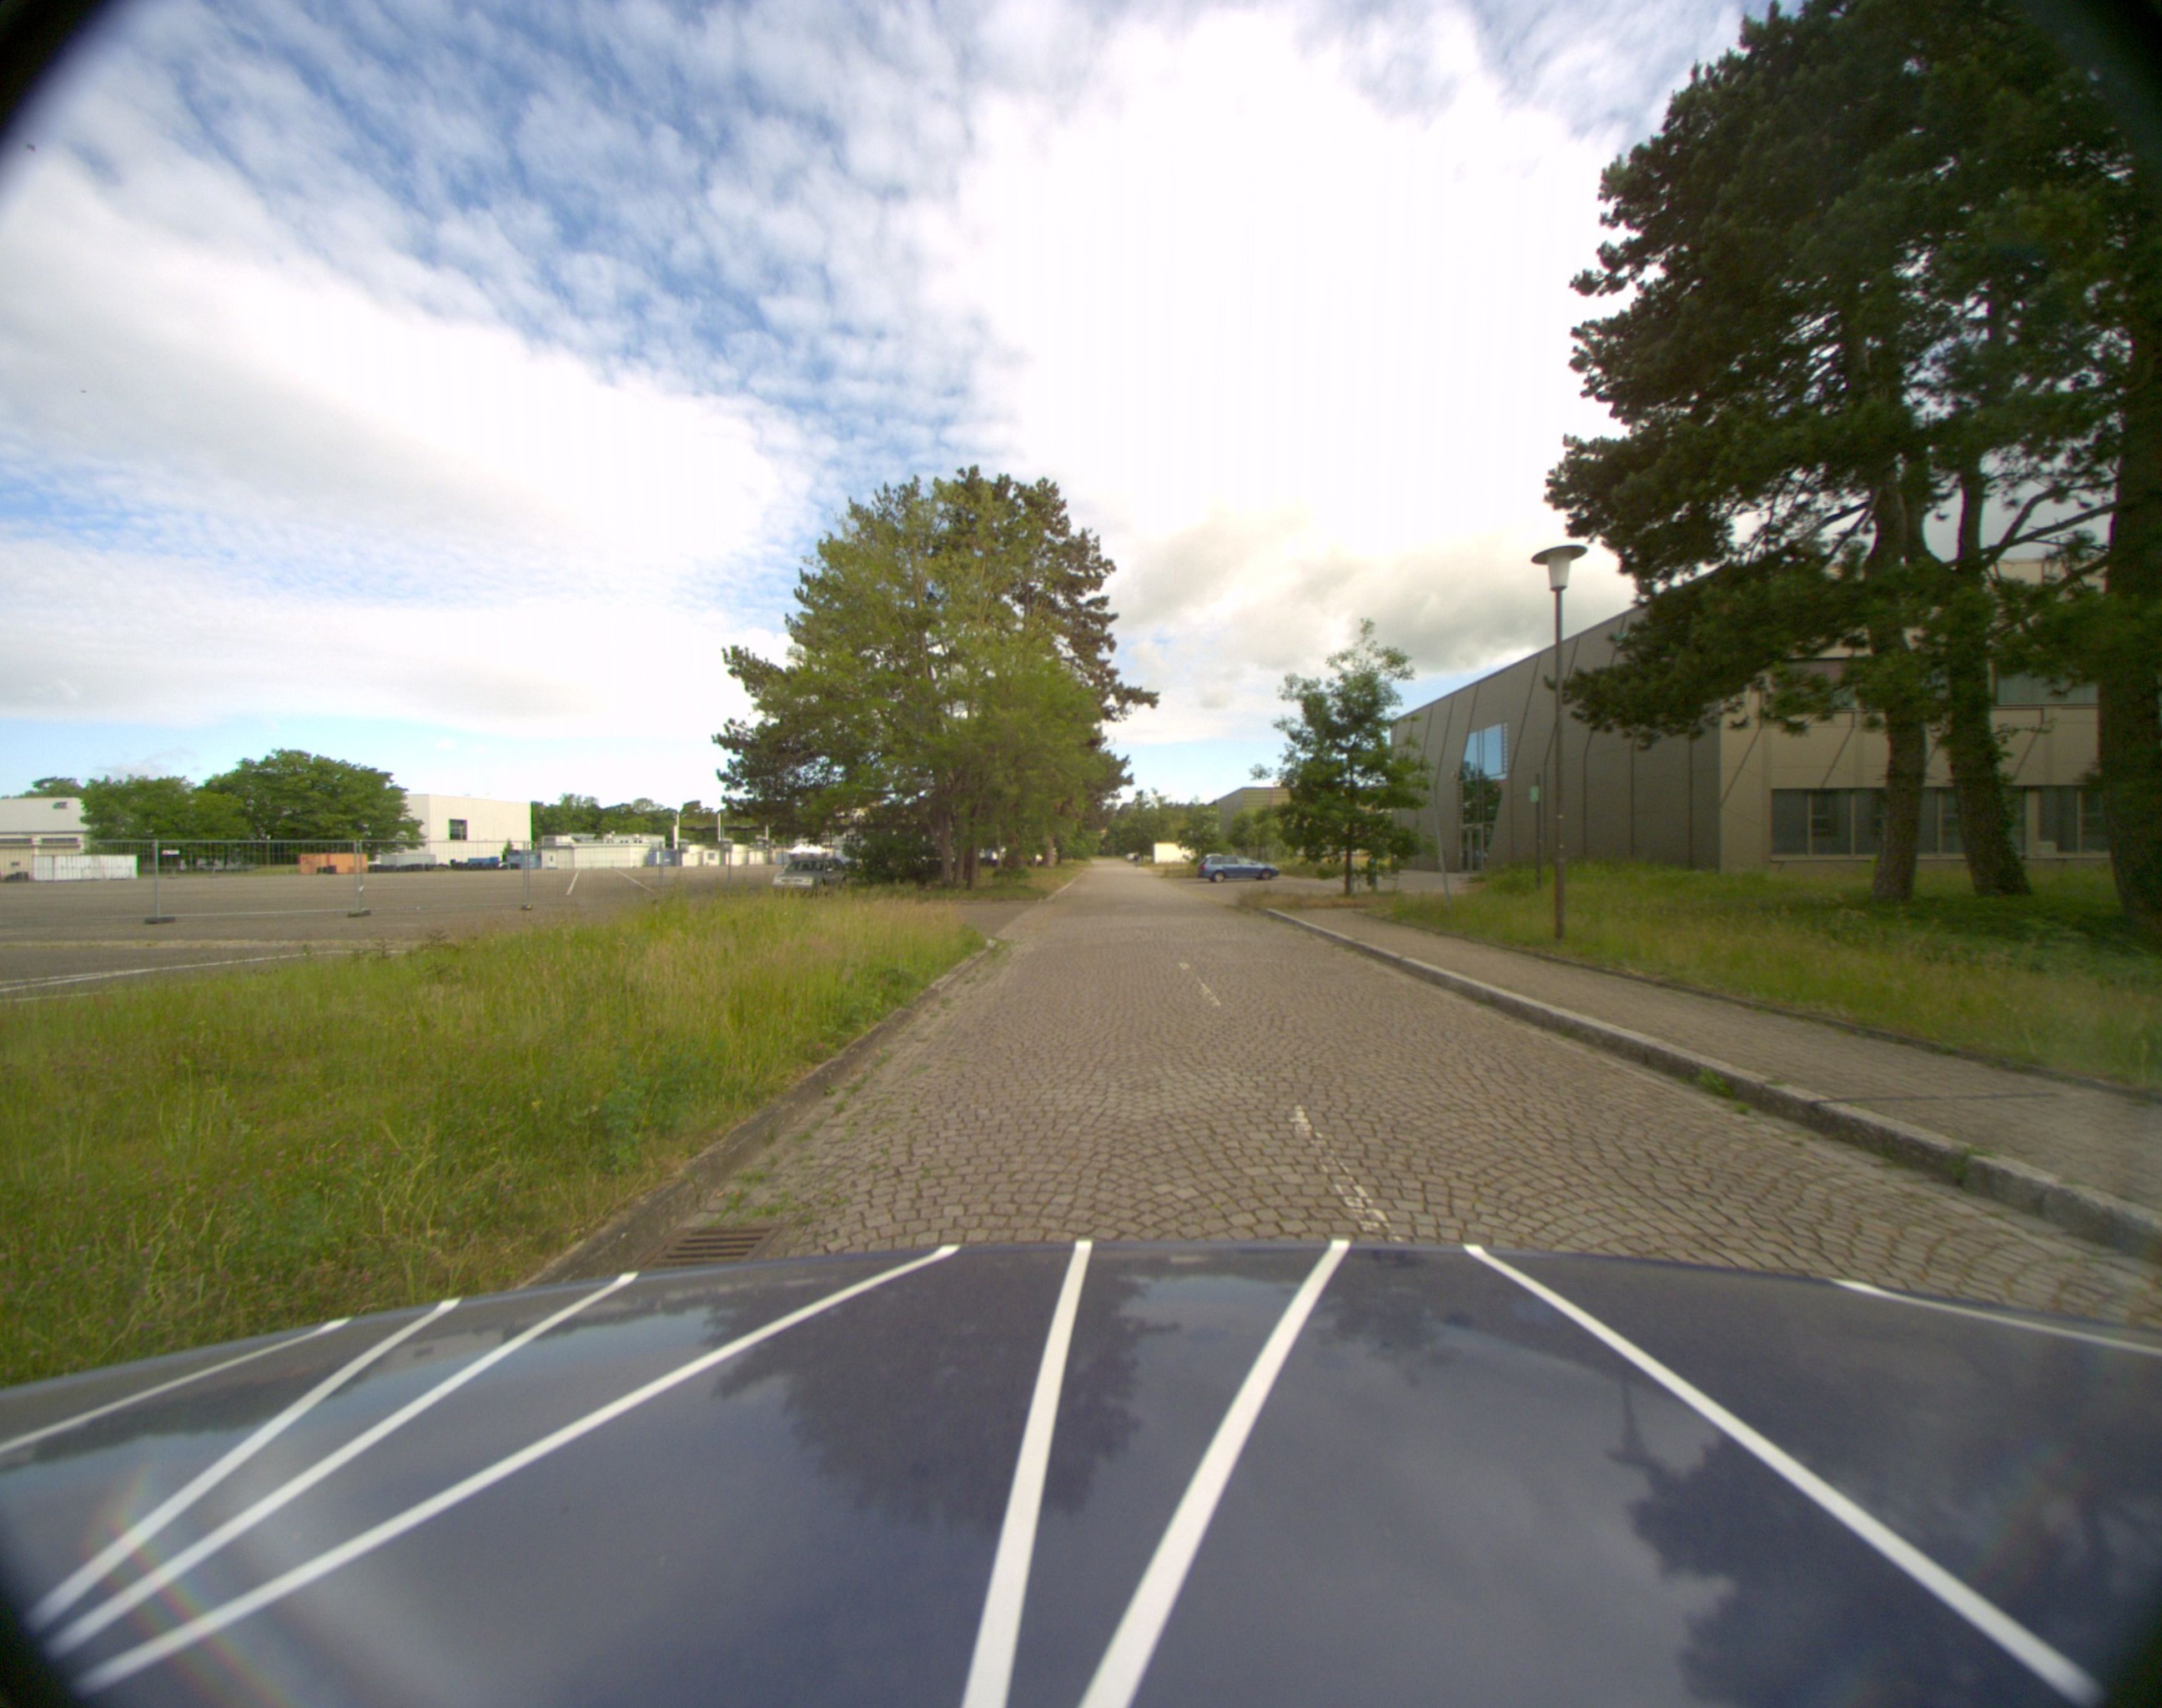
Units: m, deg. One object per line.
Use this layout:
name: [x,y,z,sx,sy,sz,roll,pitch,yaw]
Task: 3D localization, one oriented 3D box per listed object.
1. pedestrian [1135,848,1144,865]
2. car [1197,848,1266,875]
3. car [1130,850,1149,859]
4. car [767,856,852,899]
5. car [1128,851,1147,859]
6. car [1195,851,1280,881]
pedestrian: [5.946,0.279,77.579,0.874,1.713,1.007,0,1,7]
car: [9.958,0.477,50.473,4.193,1.577,1.838,-3,1,-1]
car: [12.137,0.073,157.694,4.077,1.828,1.786,0,1,4]
car: [-10.237,0.820,28.994,1.863,1.466,4.149,0,1,-2]
car: [11.880,0.203,159.976,4.077,1.565,1.786,-1,1,4]
car: [8.830,0.652,43.072,4.414,1.455,1.838,-3,1,-1]
